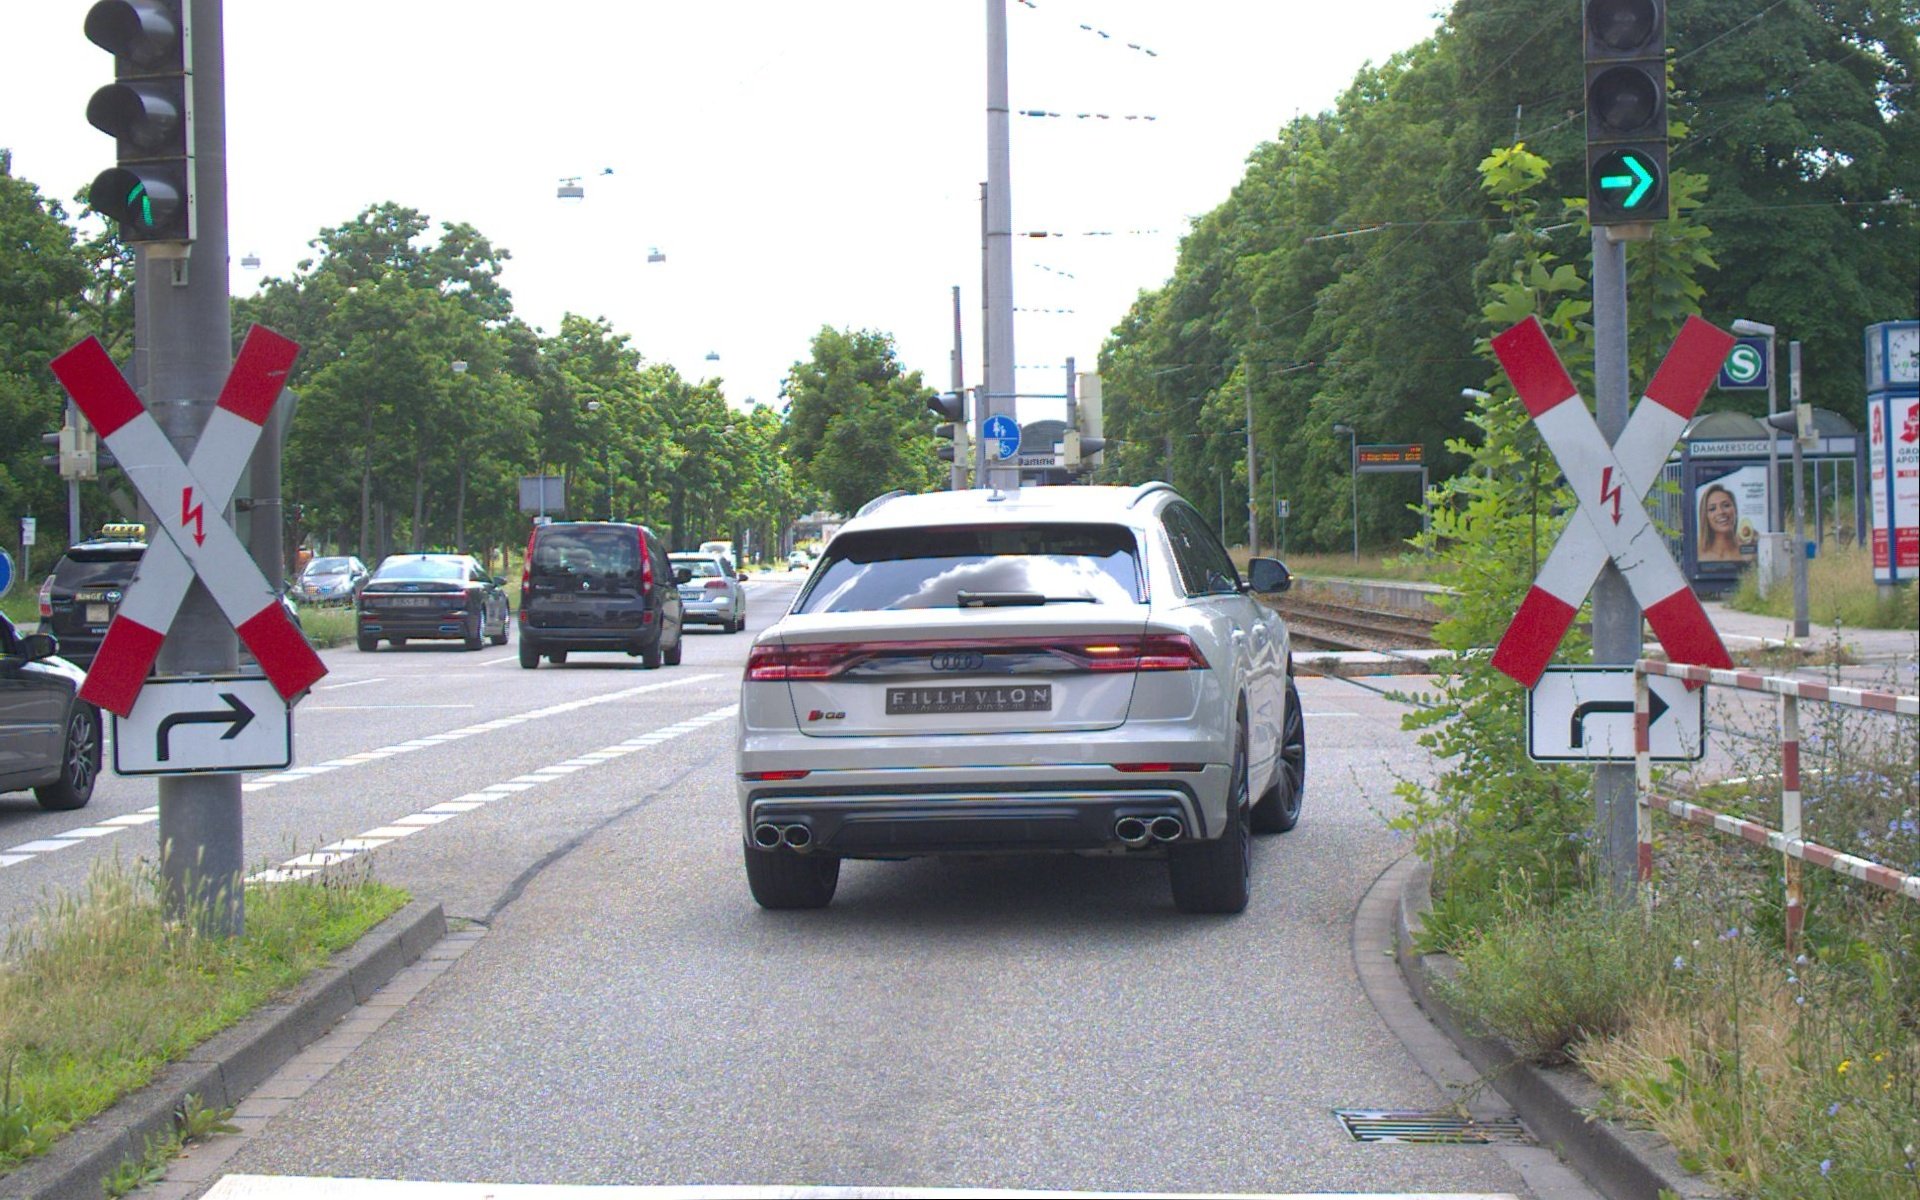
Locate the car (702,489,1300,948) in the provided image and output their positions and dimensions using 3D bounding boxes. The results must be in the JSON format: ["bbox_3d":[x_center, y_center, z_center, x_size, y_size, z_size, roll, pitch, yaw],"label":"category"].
[{"bbox_3d":[0.361,0.396,14.965,1.982,1.678,4.572,0,1,9],"label":"car"}]

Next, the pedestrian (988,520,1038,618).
[{"bbox_3d":[0.828,-0.489,53.812,0.653,1.508,0.718,-1,1,-8],"label":"pedestrian"}]

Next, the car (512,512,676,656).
[{"bbox_3d":[-4.648,-0.216,44.110,1.759,1.771,3.909,0,1,-1],"label":"car"}]

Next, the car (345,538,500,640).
[{"bbox_3d":[-8.148,-0.188,52.382,1.864,1.499,4.000,0,1,-2],"label":"car"}]

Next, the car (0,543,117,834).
[{"bbox_3d":[-5.713,0.463,17.243,1.755,1.461,4.433,-1,1,1],"label":"car"}]

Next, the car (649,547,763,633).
[{"bbox_3d":[-4.601,-0.202,62.842,1.785,1.520,4.301,0,1,0],"label":"car"}]

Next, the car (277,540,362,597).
[{"bbox_3d":[-18.589,-0.915,99.879,1.785,1.588,3.773,-1,1,-1],"label":"car"}]

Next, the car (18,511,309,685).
[{"bbox_3d":[-8.037,-0.041,35.084,1.786,1.662,4.340,0,1,3],"label":"car"}]
